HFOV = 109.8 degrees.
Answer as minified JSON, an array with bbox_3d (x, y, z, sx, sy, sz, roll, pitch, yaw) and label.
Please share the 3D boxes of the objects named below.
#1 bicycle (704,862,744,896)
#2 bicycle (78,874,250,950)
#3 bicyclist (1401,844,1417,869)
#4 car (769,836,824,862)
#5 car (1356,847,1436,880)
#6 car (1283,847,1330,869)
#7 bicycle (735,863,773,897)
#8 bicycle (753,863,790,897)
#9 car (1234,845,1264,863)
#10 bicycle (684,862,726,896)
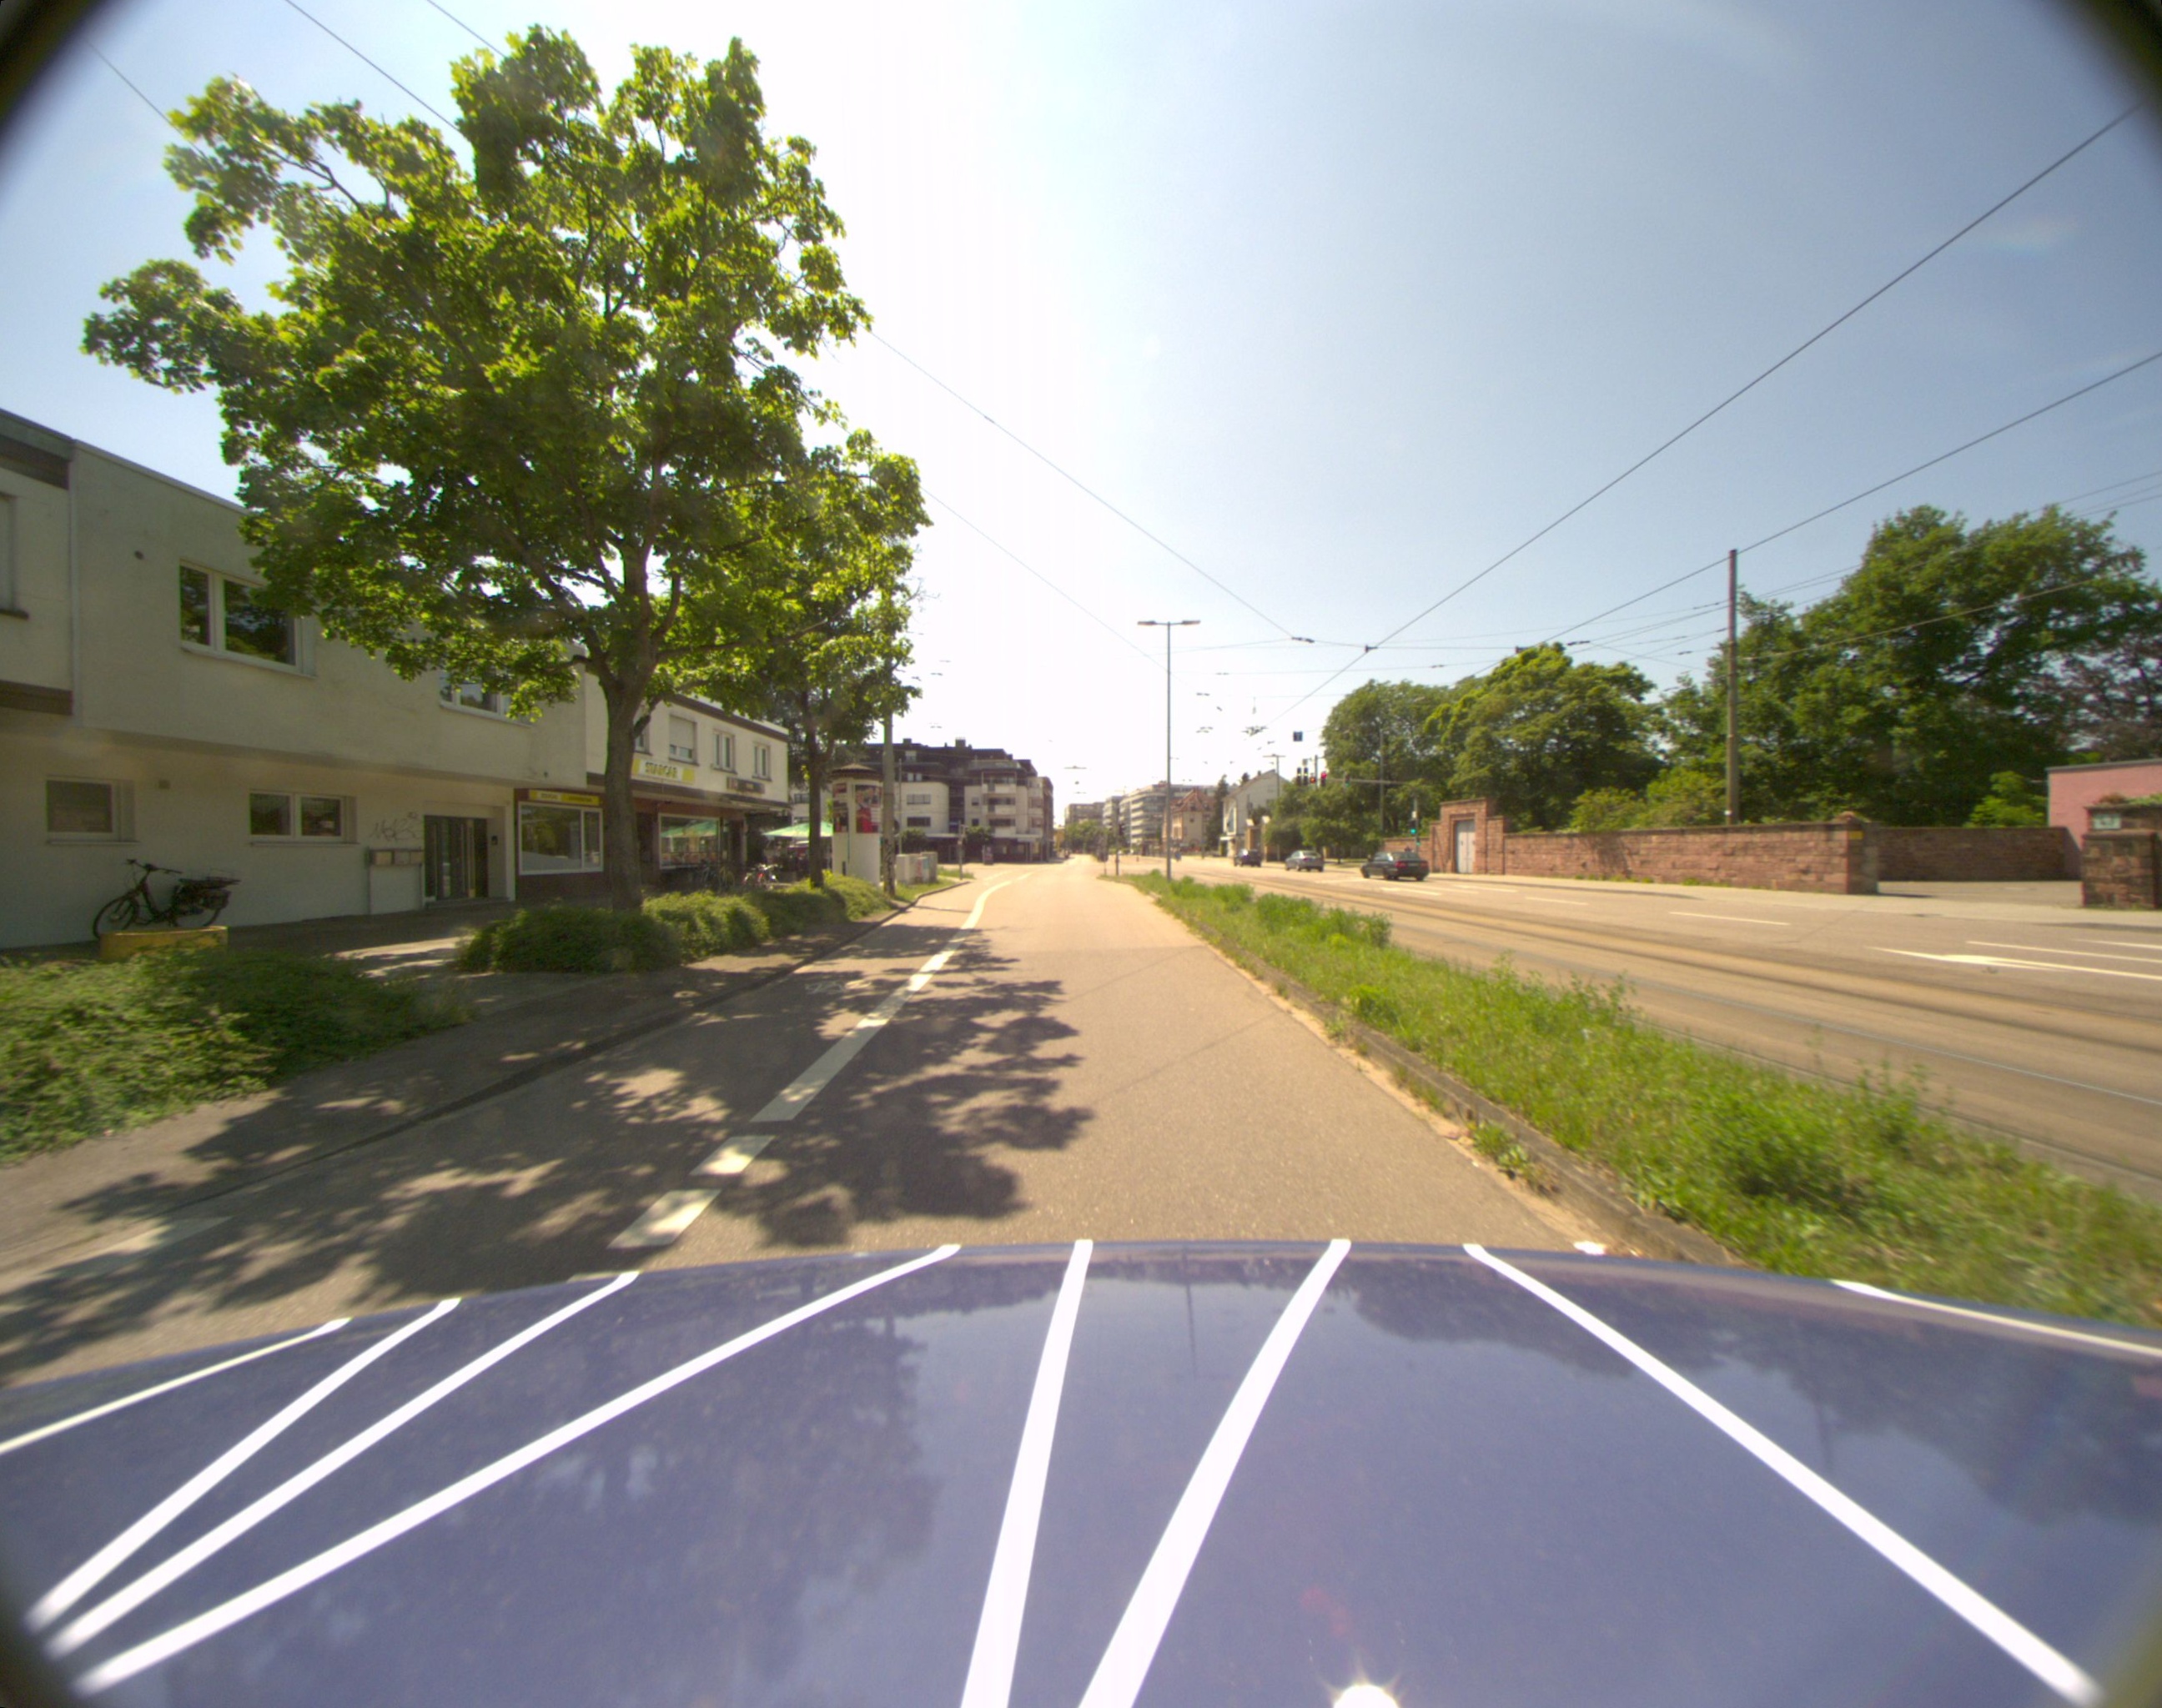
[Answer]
[{"bbox_3d":[-12.169,0.822,25.949,0.544,1.062,2.021,0,1,-4],"label":"bicycle"},{"bbox_3d":[-14.760,0.894,12.319,0.544,1.062,1.900,0,1,-4],"label":"bicycle"},{"bbox_3d":[19.680,0.155,45.588,0.654,1.488,0.662,-1,1,-1],"label":"bicyclist"},{"bbox_3d":[-31.185,-0.559,83.452,5.203,2.712,2.000,0,1,-1],"label":"car"},{"bbox_3d":[15.343,0.416,37.346,1.845,1.408,5.033,-3,1,1],"label":"car"},{"bbox_3d":[15.586,0.249,52.805,1.845,1.408,4.710,-3,1,1],"label":"car"},{"bbox_3d":[-11.088,0.868,25.811,0.544,1.062,2.021,0,1,-4],"label":"bicycle"},{"bbox_3d":[-10.501,0.847,25.827,0.544,1.062,2.021,0,1,-4],"label":"bicycle"},{"bbox_3d":[15.556,-0.009,70.612,1.845,1.546,4.465,0,1,0],"label":"car"},{"bbox_3d":[-12.770,0.831,25.873,0.544,1.062,2.021,0,1,-4],"label":"bicycle"}]
